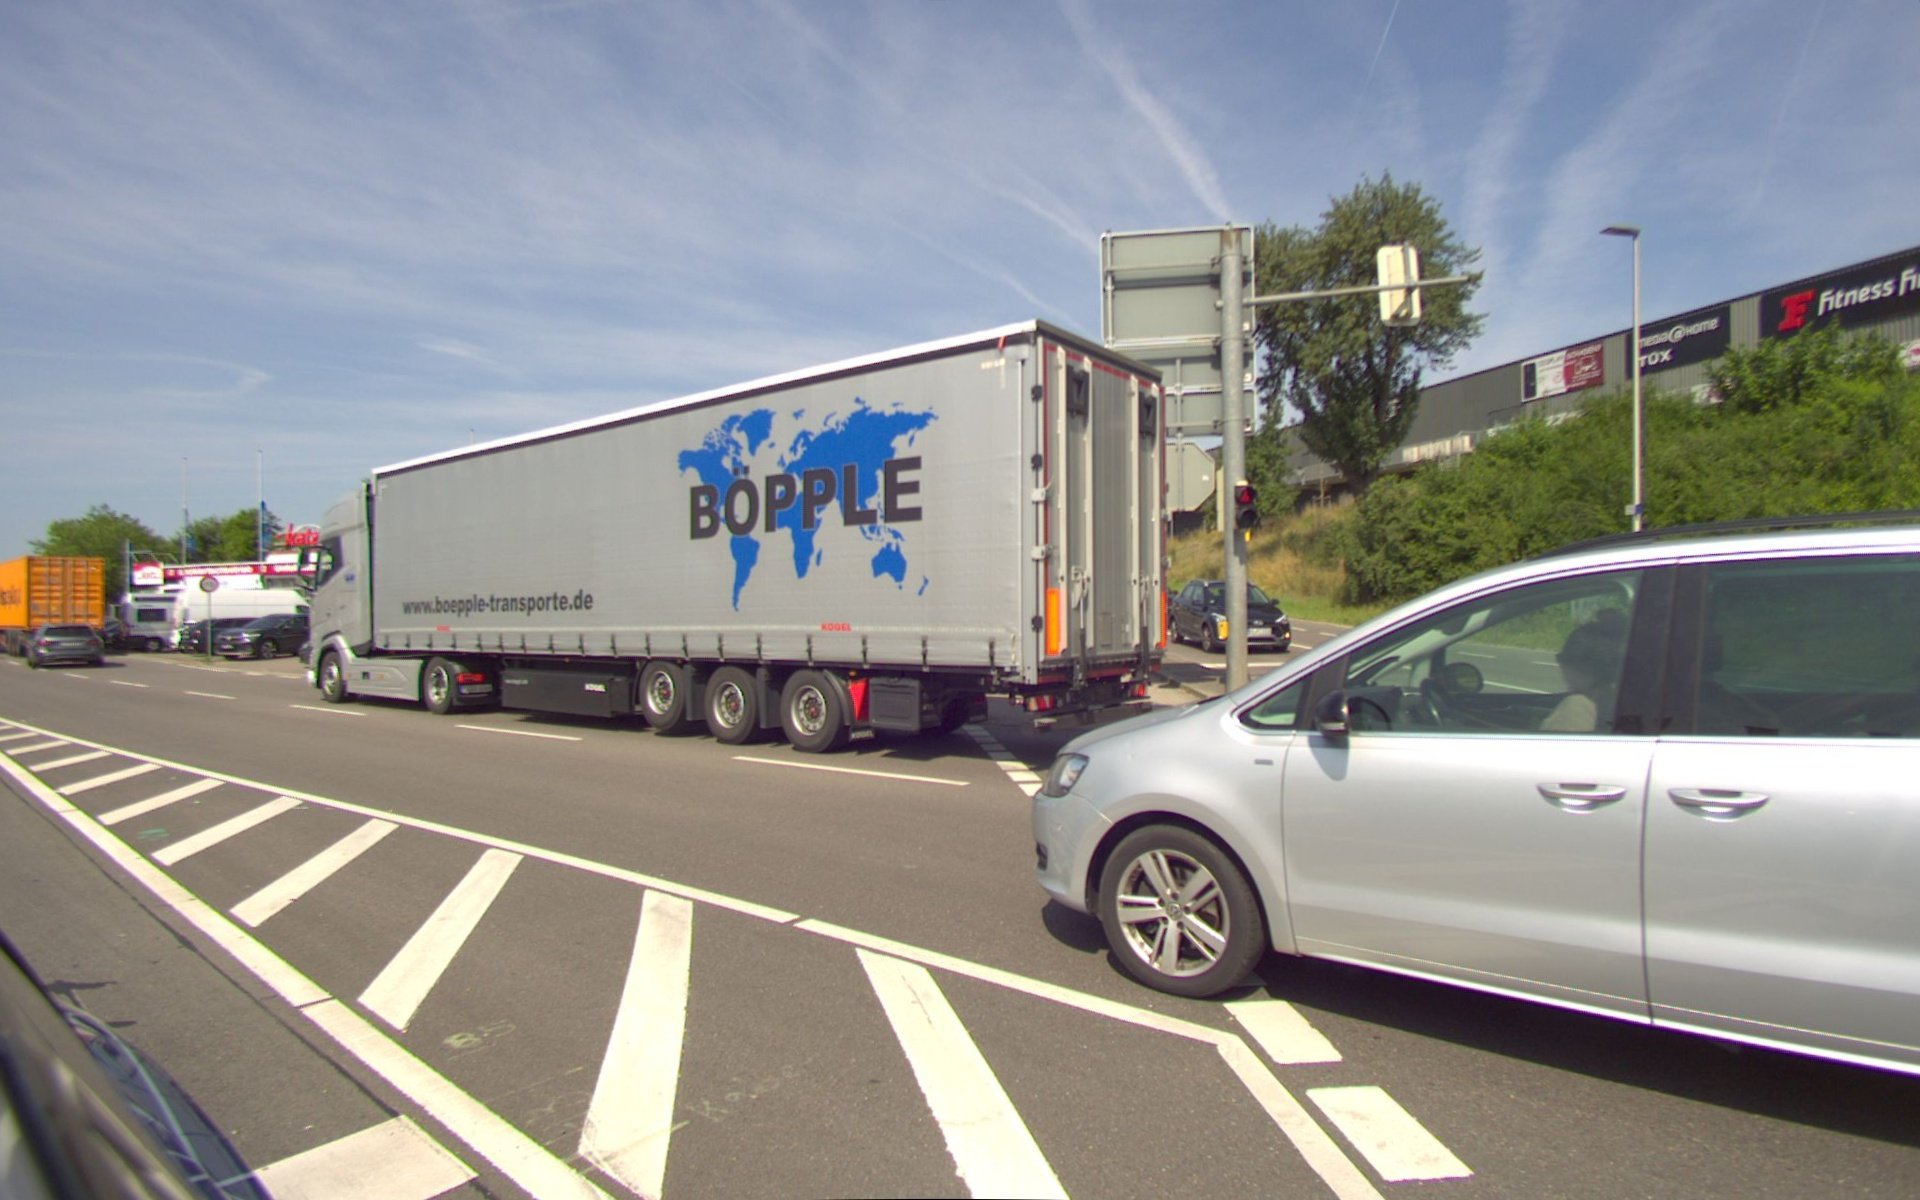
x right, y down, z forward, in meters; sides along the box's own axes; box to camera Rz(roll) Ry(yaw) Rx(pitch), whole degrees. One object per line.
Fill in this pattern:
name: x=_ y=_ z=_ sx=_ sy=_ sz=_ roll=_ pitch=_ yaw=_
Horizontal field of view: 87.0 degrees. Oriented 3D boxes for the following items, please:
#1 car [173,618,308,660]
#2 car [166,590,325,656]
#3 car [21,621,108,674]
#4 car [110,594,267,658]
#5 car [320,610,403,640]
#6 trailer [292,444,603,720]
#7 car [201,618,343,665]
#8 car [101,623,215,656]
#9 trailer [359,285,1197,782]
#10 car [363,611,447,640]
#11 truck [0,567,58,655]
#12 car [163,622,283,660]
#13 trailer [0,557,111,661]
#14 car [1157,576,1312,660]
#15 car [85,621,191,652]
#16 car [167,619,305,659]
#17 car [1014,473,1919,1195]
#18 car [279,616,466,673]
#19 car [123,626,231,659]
car: x=-28.241 y=1.492 z=39.817 sx=2.030 sy=1.542 sz=3.992 roll=-1 pitch=-1 yaw=41
car: x=-32.750 y=1.038 z=46.520 sx=2.116 sy=2.860 sz=5.646 roll=-3 pitch=-2 yaw=43
car: x=-29.647 y=1.537 z=33.456 sx=1.899 sy=1.614 sz=4.591 roll=1 pitch=-3 yaw=-44
car: x=-35.609 y=1.134 z=46.841 sx=2.177 sy=2.794 sz=5.506 roll=-1 pitch=-1 yaw=43
car: x=-35.873 y=1.481 z=60.750 sx=1.864 sy=1.631 sz=3.968 roll=-1 pitch=0 yaw=23
trailer: x=-9.322 y=-0.223 z=18.133 sx=6.172 sy=4.136 sz=2.620 roll=-1 pitch=-1 yaw=38
car: x=-25.596 y=1.508 z=37.833 sx=2.010 sy=1.635 sz=4.165 roll=-1 pitch=-1 yaw=13
car: x=-39.738 y=1.914 z=50.198 sx=1.873 sy=1.479 sz=4.202 roll=-1 pitch=-1 yaw=42
trailer: x=-3.810 y=-0.457 z=13.816 sx=13.858 sy=4.179 sz=2.666 roll=-1 pitch=-1 yaw=38
car: x=-32.801 y=1.476 z=59.887 sx=1.977 sy=1.619 sz=3.965 roll=-1 pitch=0 yaw=26
truck: x=-45.910 y=0.564 z=48.954 sx=6.054 sy=4.028 sz=2.692 roll=-1 pitch=-1 yaw=41
car: x=-31.903 y=1.742 z=43.868 sx=1.881 sy=1.481 sz=3.943 roll=-1 pitch=-1 yaw=43
trailer: x=-40.274 y=0.445 z=44.231 sx=12.222 sy=4.028 sz=2.693 roll=-1 pitch=-1 yaw=40
car: x=5.958 y=0.302 z=22.599 sx=1.887 sy=1.538 sz=4.641 roll=-2 pitch=2 yaw=-4
car: x=-41.887 y=1.834 z=51.636 sx=1.905 sy=1.465 sz=3.945 roll=-1 pitch=-1 yaw=41
car: x=-30.061 y=1.575 z=42.095 sx=2.028 sy=1.542 sz=4.323 roll=-1 pitch=-1 yaw=40
car: x=2.593 y=0.549 z=3.378 sx=4.583 sy=1.745 sz=1.825 roll=-2 pitch=0 yaw=39
car: x=-17.976 y=1.337 z=31.156 sx=4.570 sy=1.447 sz=1.977 roll=-2 pitch=0 yaw=-5
car: x=-37.634 y=2.017 z=48.714 sx=1.828 sy=1.442 sz=3.896 roll=-1 pitch=-1 yaw=43
